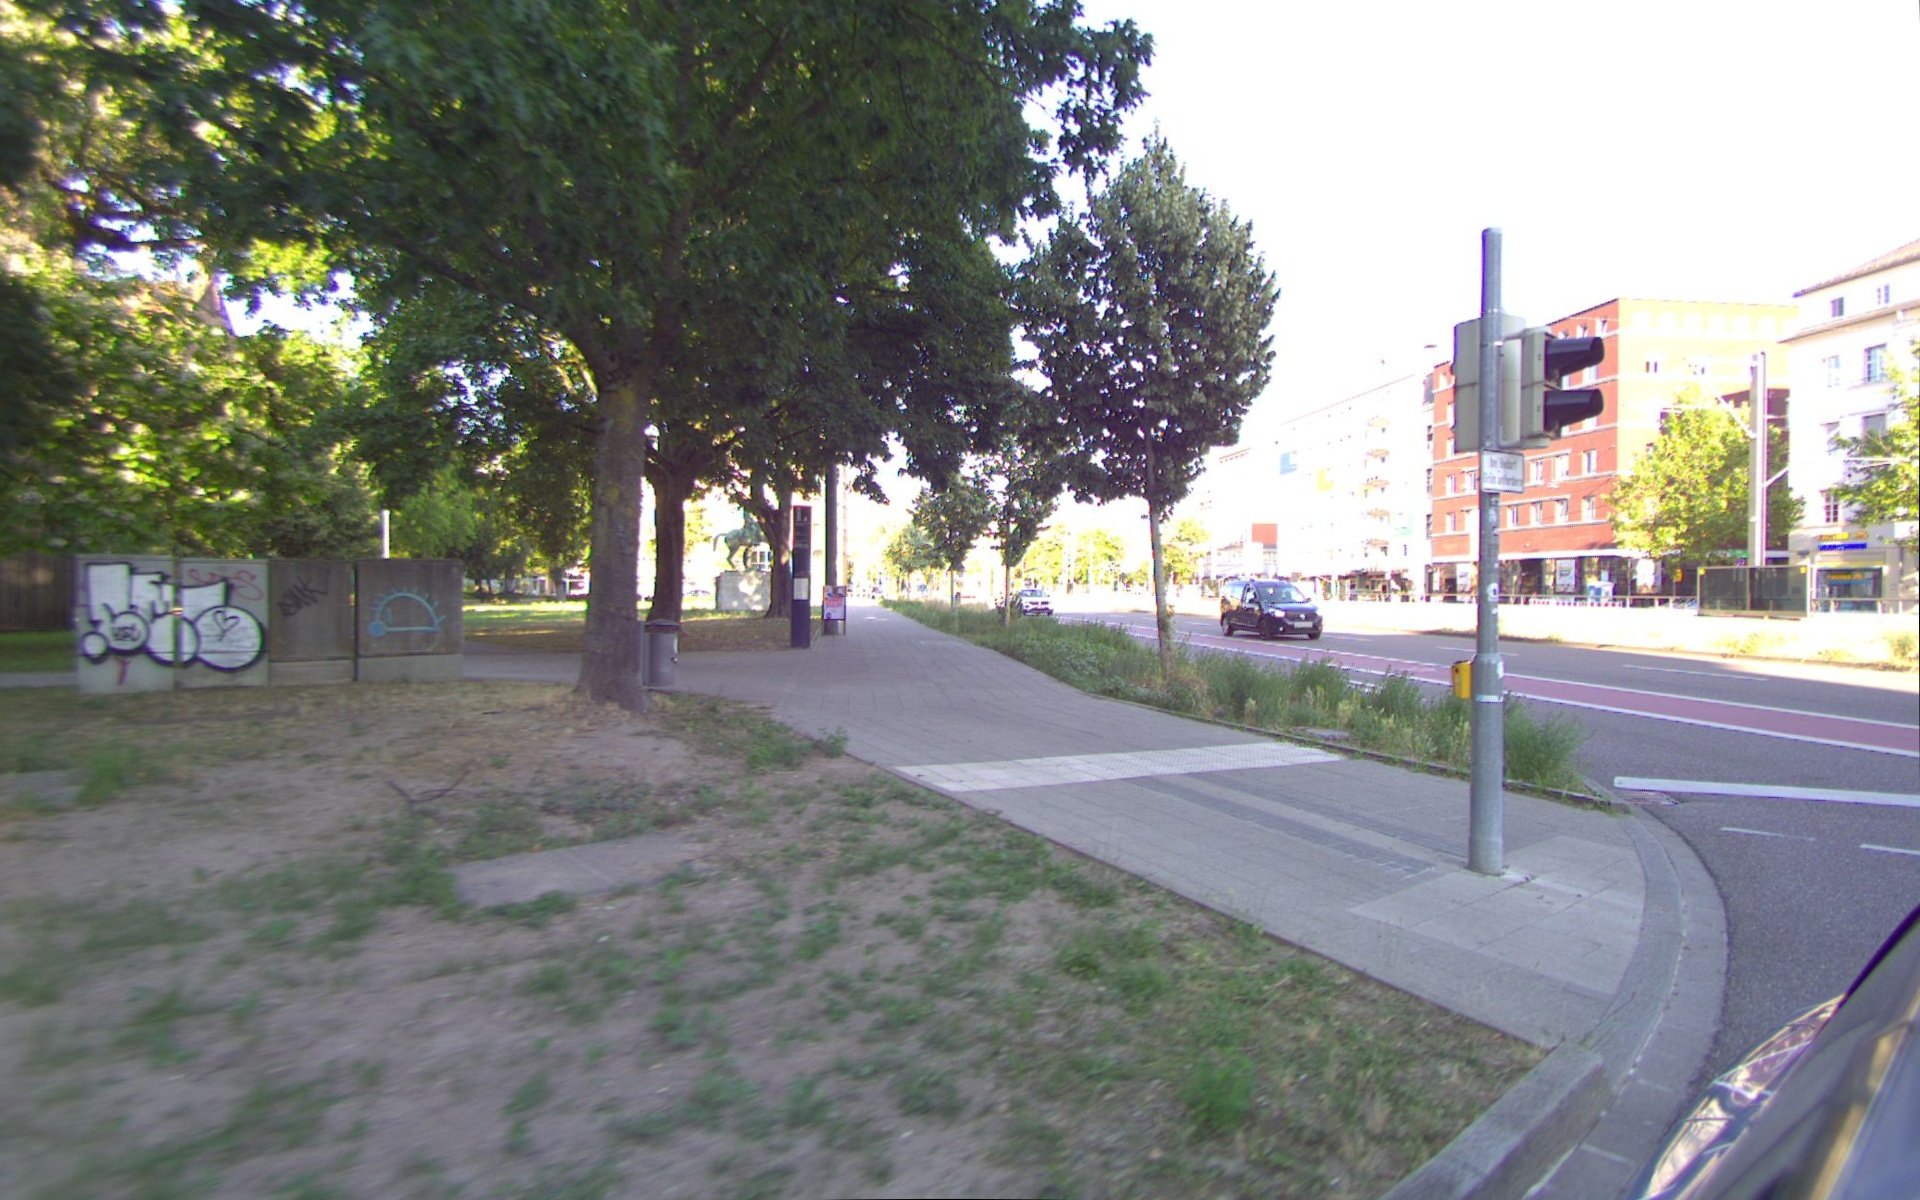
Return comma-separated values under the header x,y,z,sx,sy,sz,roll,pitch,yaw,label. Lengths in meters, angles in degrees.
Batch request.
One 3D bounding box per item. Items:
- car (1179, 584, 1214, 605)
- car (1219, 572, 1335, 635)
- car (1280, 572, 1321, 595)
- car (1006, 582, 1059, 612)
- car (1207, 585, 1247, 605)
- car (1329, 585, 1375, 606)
x,y,z,sx,sy,sz,roll,pitch,yaw,label
24.104,-0.574,103.267,1.959,2.039,4.782,0,1,-8,car
9.413,0.066,30.436,1.735,1.754,4.153,0,1,-7,car
32.773,-1.552,97.476,1.919,2.161,4.579,0,0,-7,car
4.024,-0.210,57.002,1.797,1.556,4.287,-3,1,-12,car
24.847,-0.476,94.313,1.960,1.820,4.900,0,1,-5,car
35.570,-0.450,91.877,1.960,1.820,4.747,0,1,-6,car
